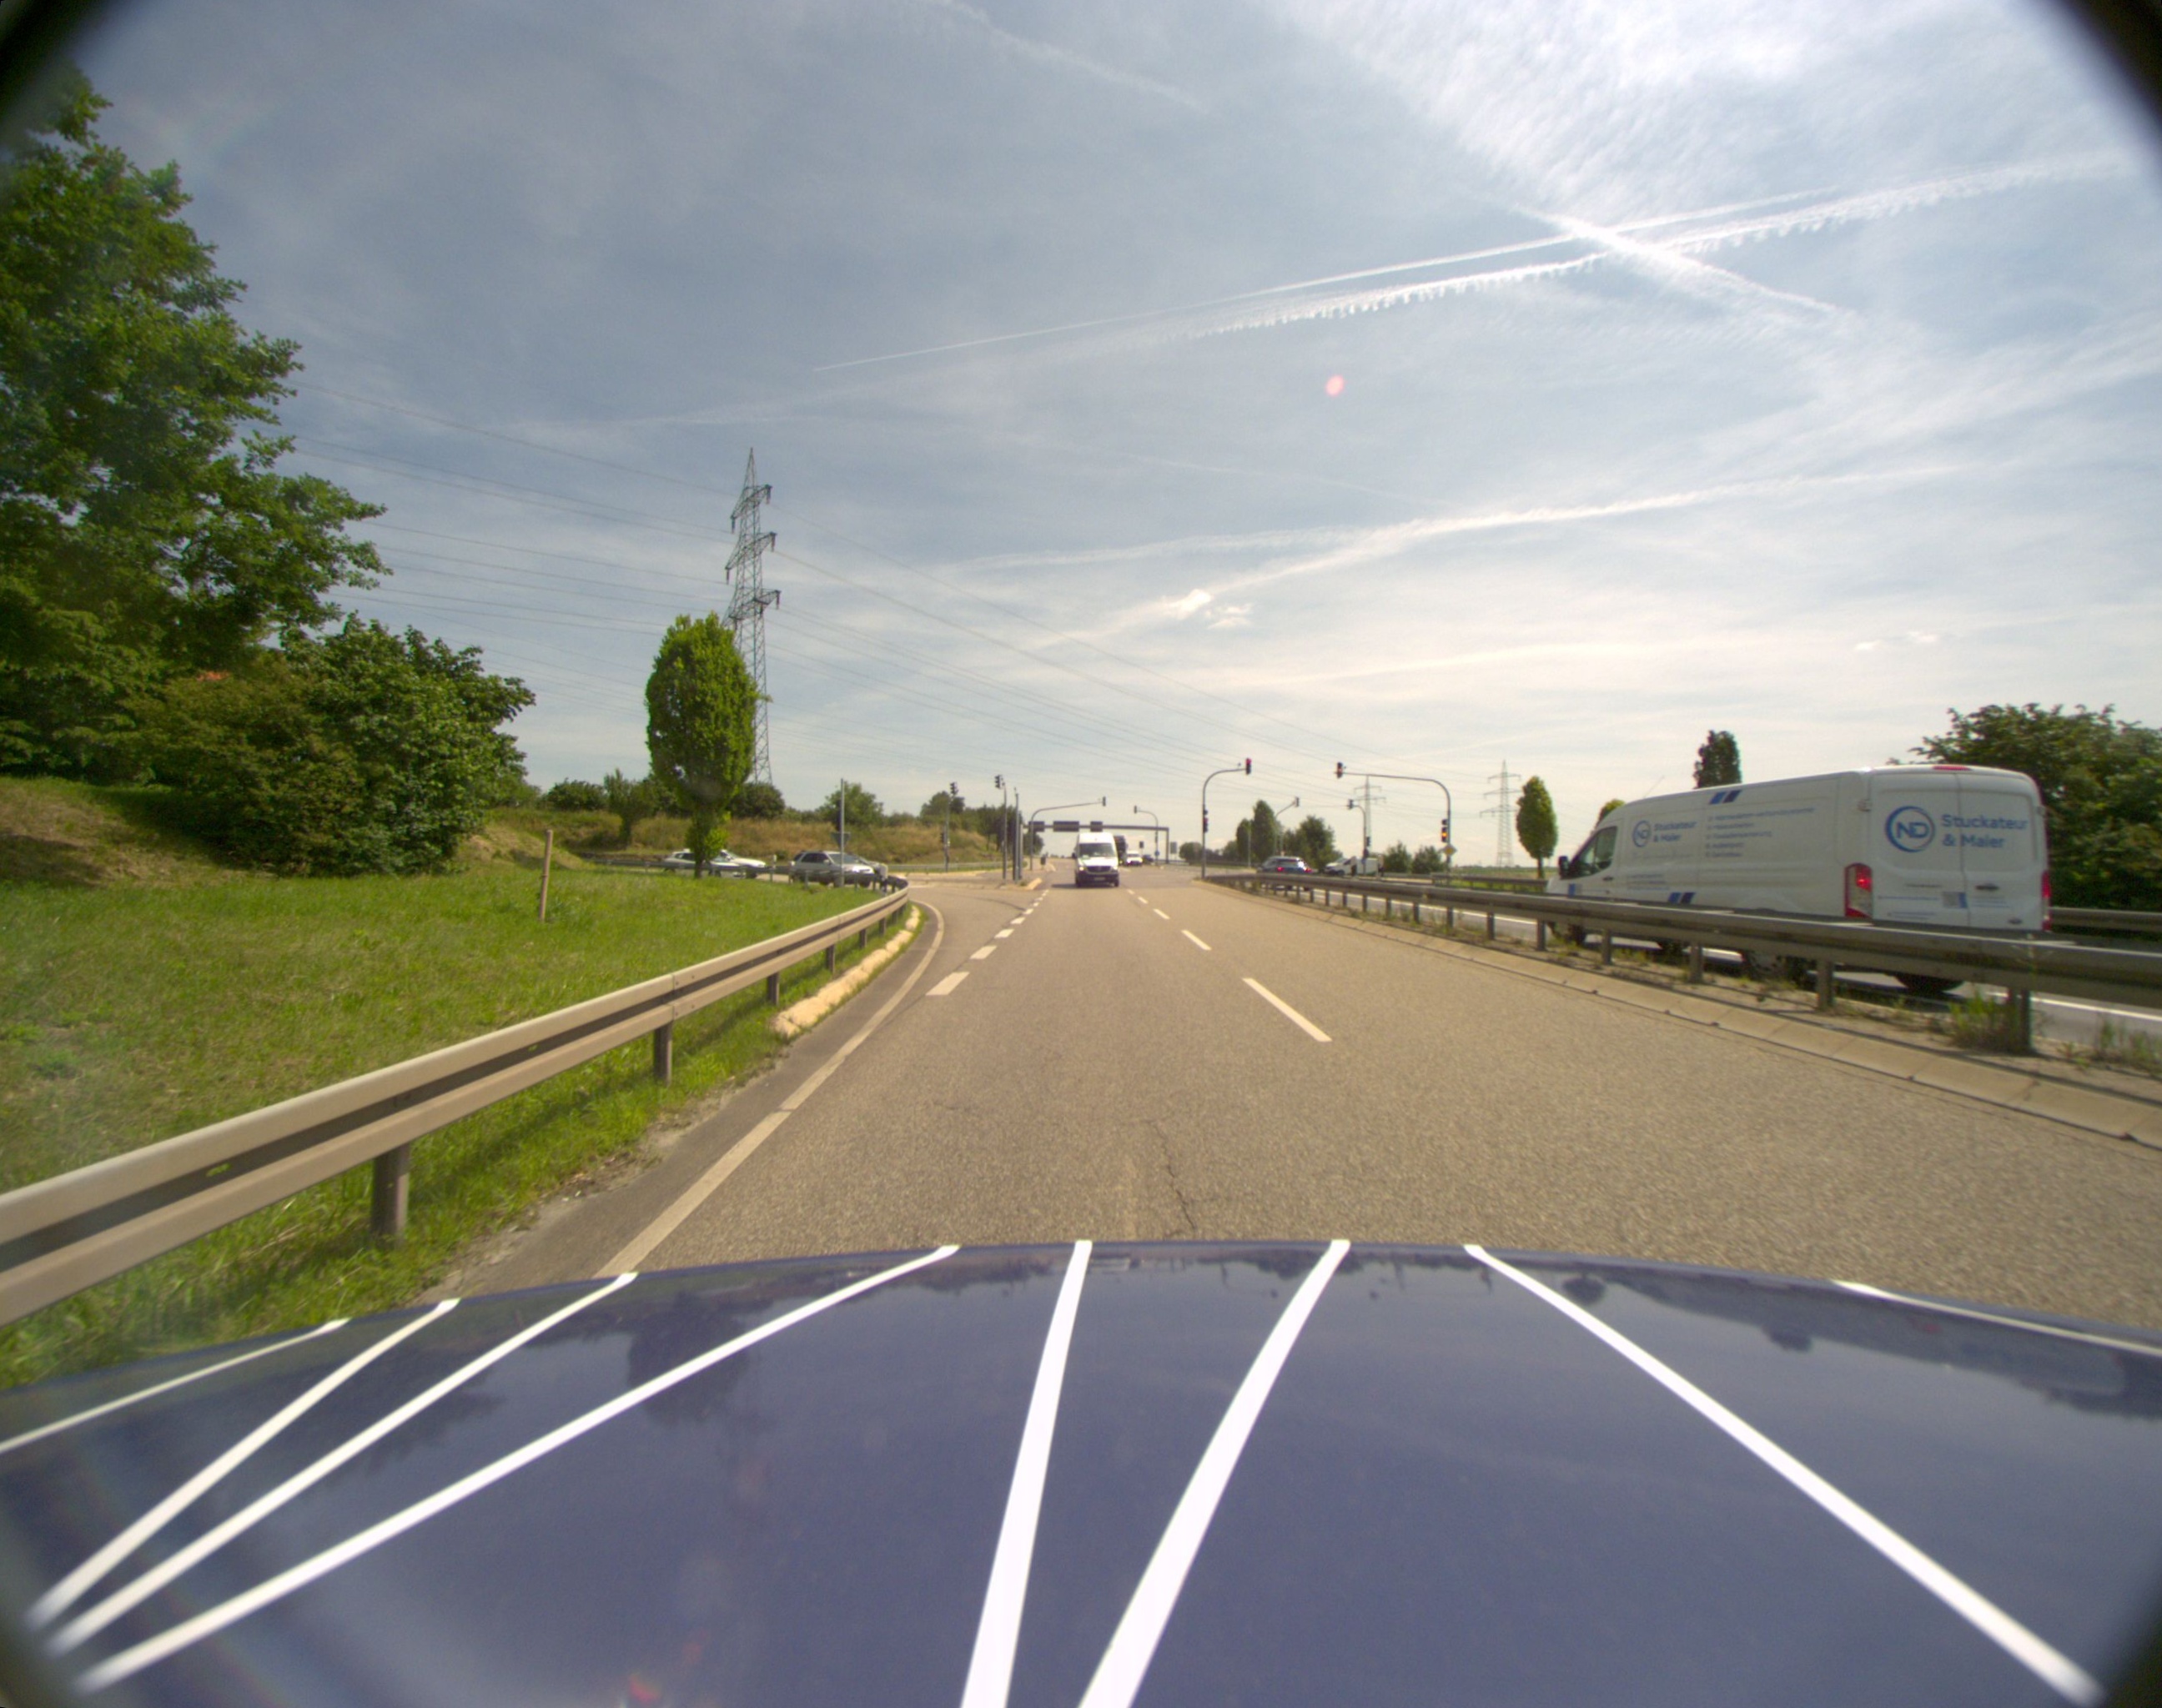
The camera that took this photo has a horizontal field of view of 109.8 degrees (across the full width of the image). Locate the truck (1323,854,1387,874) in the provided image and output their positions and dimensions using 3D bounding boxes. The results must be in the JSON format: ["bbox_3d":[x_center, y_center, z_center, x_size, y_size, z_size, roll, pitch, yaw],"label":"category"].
[{"bbox_3d":[25.600,0.934,71.160,5.283,1.746,1.998,2,1,-10],"label":"truck"}]

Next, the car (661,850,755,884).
[{"bbox_3d":[-18.871,0.634,38.540,3.994,1.591,1.783,1,1,10],"label":"car"}]

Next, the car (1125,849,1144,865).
[{"bbox_3d":[6.225,0.325,88.572,1.772,1.788,4.751,-1,0,-1],"label":"car"}]

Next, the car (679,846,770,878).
[{"bbox_3d":[-19.871,0.441,42.546,4.375,1.583,1.777,2,0,-16],"label":"car"}]

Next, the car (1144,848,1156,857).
[{"bbox_3d":[12.338,-0.303,136.151,1.648,1.614,4.326,2,1,-1],"label":"car"}]

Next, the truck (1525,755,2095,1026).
[{"bbox_3d":[8.959,0.355,10.520,2.045,2.605,6.019,2,0,1],"label":"truck"}]

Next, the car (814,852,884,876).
[{"bbox_3d":[-15.393,0.670,50.621,4.375,1.502,1.714,1,1,-15],"label":"car"}]

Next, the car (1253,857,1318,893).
[{"bbox_3d":[9.131,0.888,34.237,1.760,1.460,4.195,0,0,-1],"label":"car"}]

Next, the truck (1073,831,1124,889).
[{"bbox_3d":[0.760,0.240,35.833,1.999,2.518,5.103,-1,1,-3],"label":"truck"}]

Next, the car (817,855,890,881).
[{"bbox_3d":[-13.308,0.817,44.450,4.003,1.502,1.713,0,0,-18],"label":"car"}]

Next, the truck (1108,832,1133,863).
[{"bbox_3d":[5.378,-0.894,104.588,2.791,3.990,5.968,-1,1,-4],"label":"truck"}]

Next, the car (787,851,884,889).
[{"bbox_3d":[-11.459,0.702,35.374,4.360,1.645,1.840,0,0,30],"label":"car"}]
